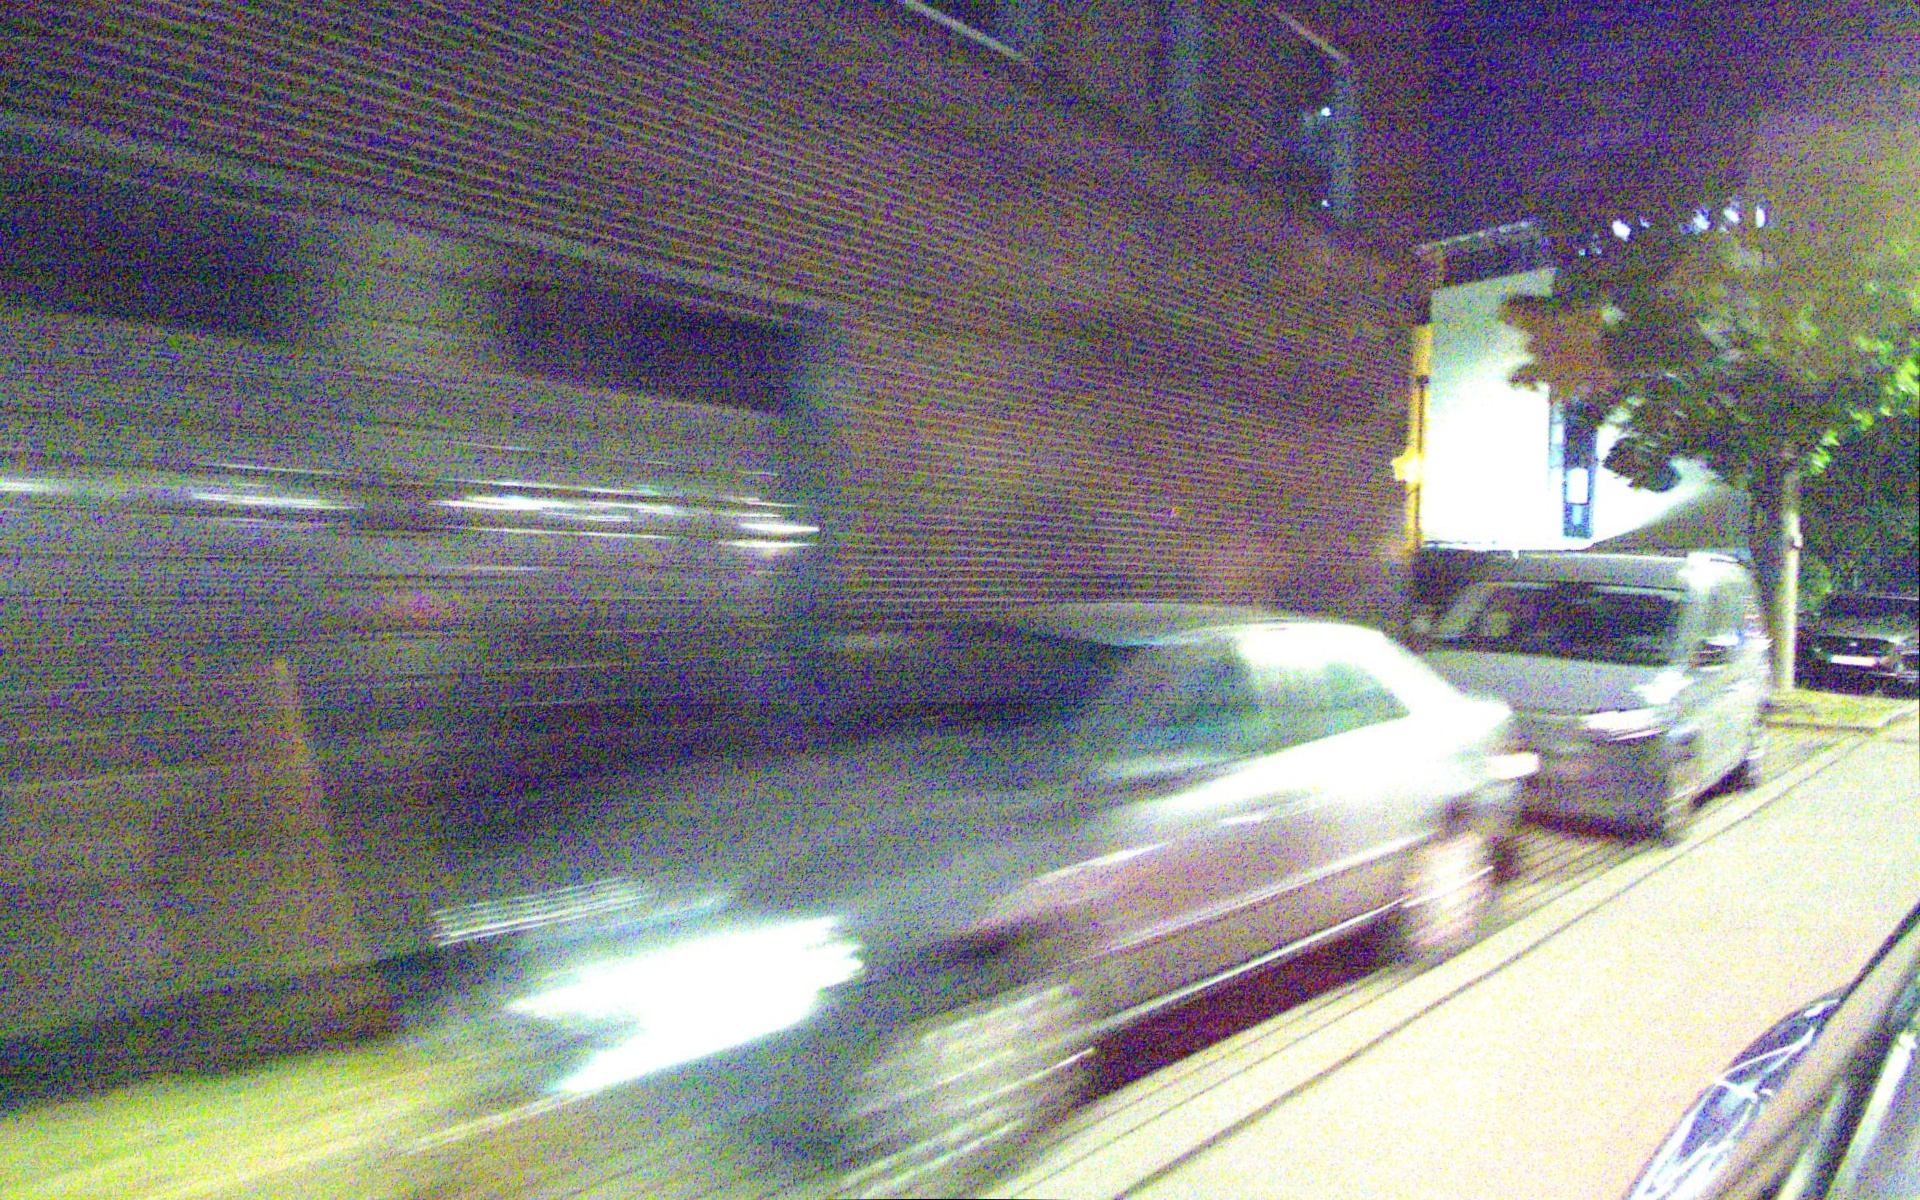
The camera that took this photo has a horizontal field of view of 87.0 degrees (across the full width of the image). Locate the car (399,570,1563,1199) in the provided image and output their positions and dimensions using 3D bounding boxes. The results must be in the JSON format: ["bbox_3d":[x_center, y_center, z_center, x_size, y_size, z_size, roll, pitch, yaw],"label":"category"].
[{"bbox_3d":[0.471,0.647,3.887,4.344,1.375,1.780,0,3,-40],"label":"car"}]

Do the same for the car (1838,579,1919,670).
[{"bbox_3d":[19.715,0.471,20.879,4.025,1.685,1.932,0,4,-43],"label":"car"}]

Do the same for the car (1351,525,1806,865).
[{"bbox_3d":[4.788,0.448,7.532,4.349,1.794,1.778,0,4,-44],"label":"car"}]

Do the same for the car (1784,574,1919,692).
[{"bbox_3d":[15.274,0.478,16.781,3.710,1.685,1.932,0,4,-43],"label":"car"}]
